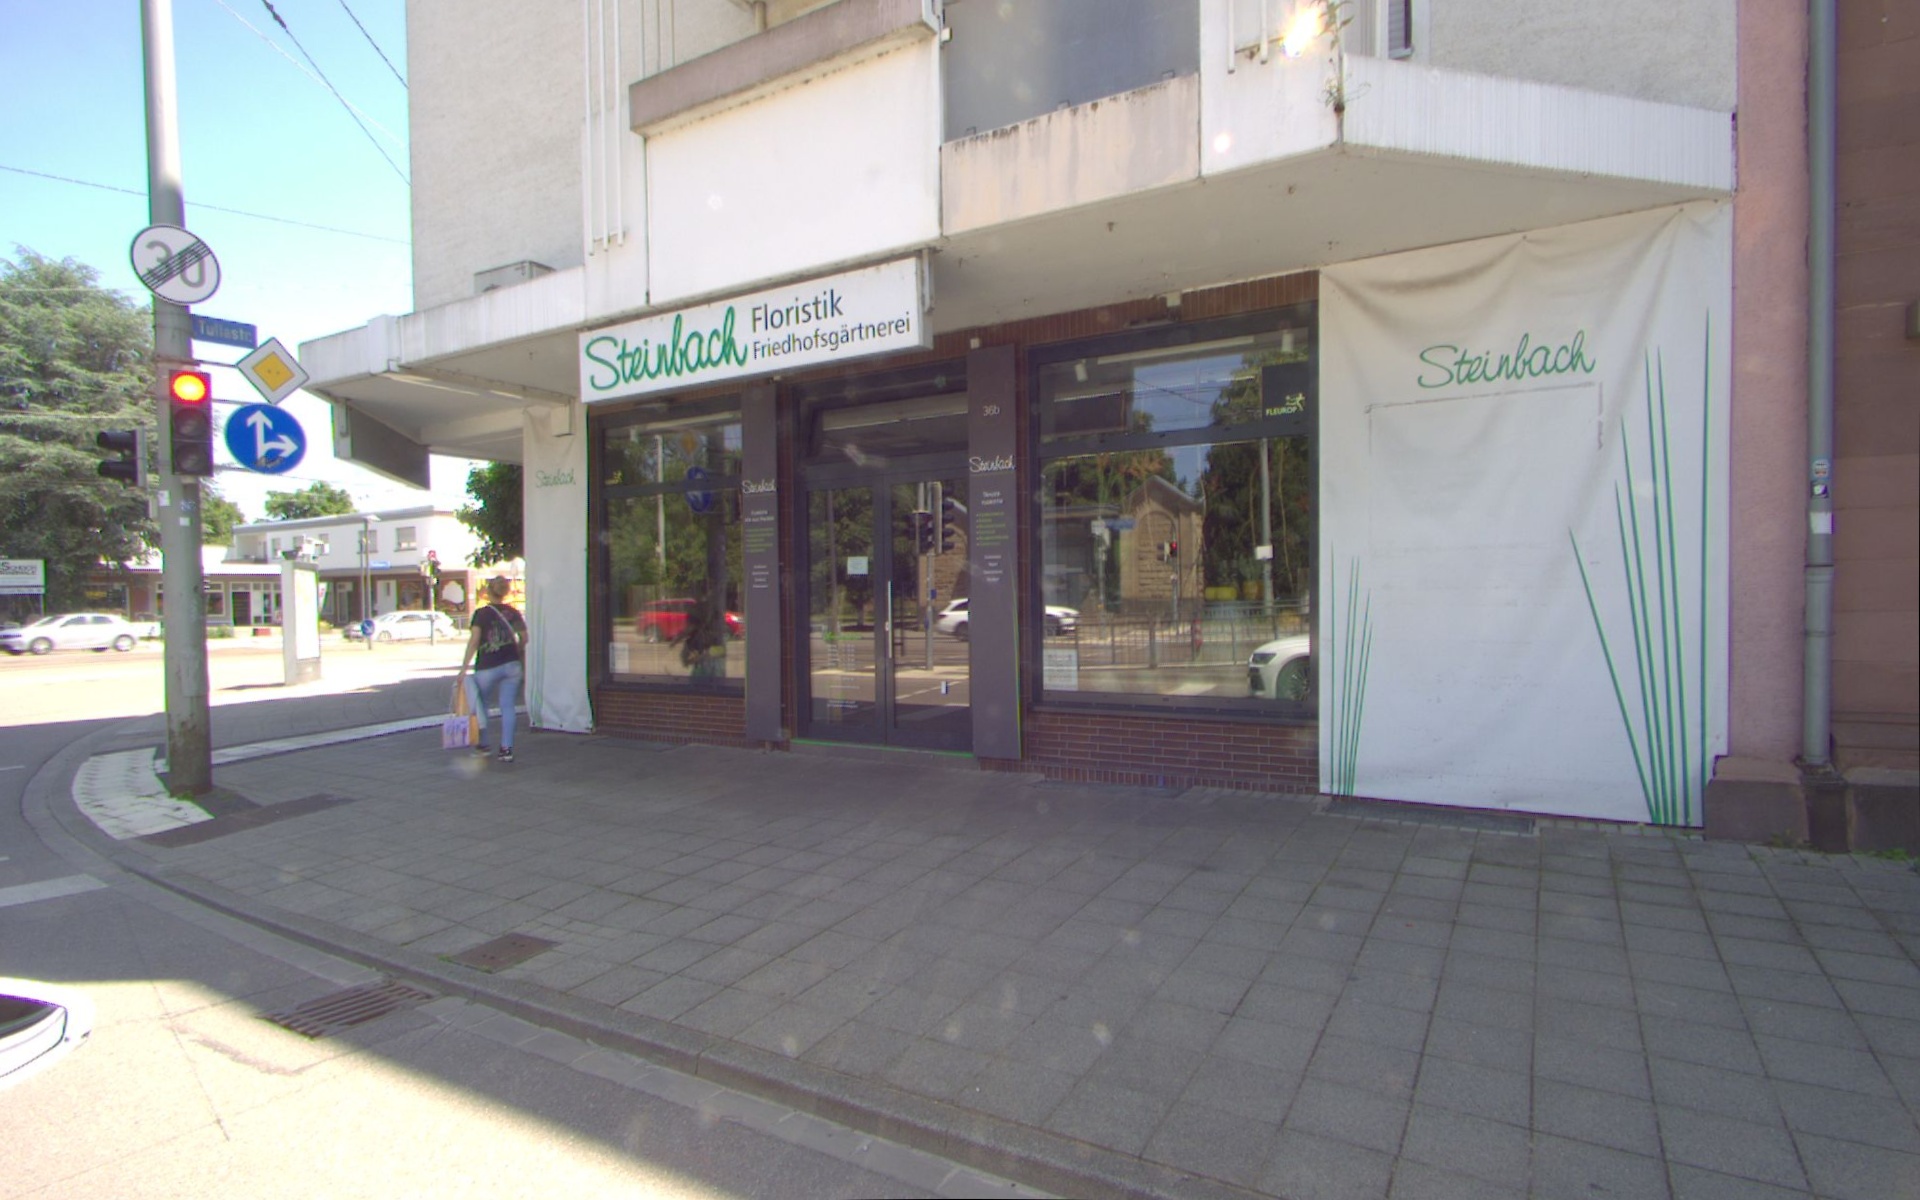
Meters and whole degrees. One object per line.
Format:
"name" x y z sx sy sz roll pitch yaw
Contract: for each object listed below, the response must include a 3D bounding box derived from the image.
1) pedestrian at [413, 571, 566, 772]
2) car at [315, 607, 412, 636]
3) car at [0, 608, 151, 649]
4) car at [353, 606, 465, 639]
"pedestrian" -4.087 0.581 8.717 0.816 1.606 0.822 0 4 38
"car" -29.507 1.035 49.616 1.617 1.369 3.824 0 0 29
"car" -32.416 1.005 36.611 1.793 1.381 4.041 0 0 22
"car" -26.490 1.049 48.289 1.796 1.509 4.479 0 0 29
